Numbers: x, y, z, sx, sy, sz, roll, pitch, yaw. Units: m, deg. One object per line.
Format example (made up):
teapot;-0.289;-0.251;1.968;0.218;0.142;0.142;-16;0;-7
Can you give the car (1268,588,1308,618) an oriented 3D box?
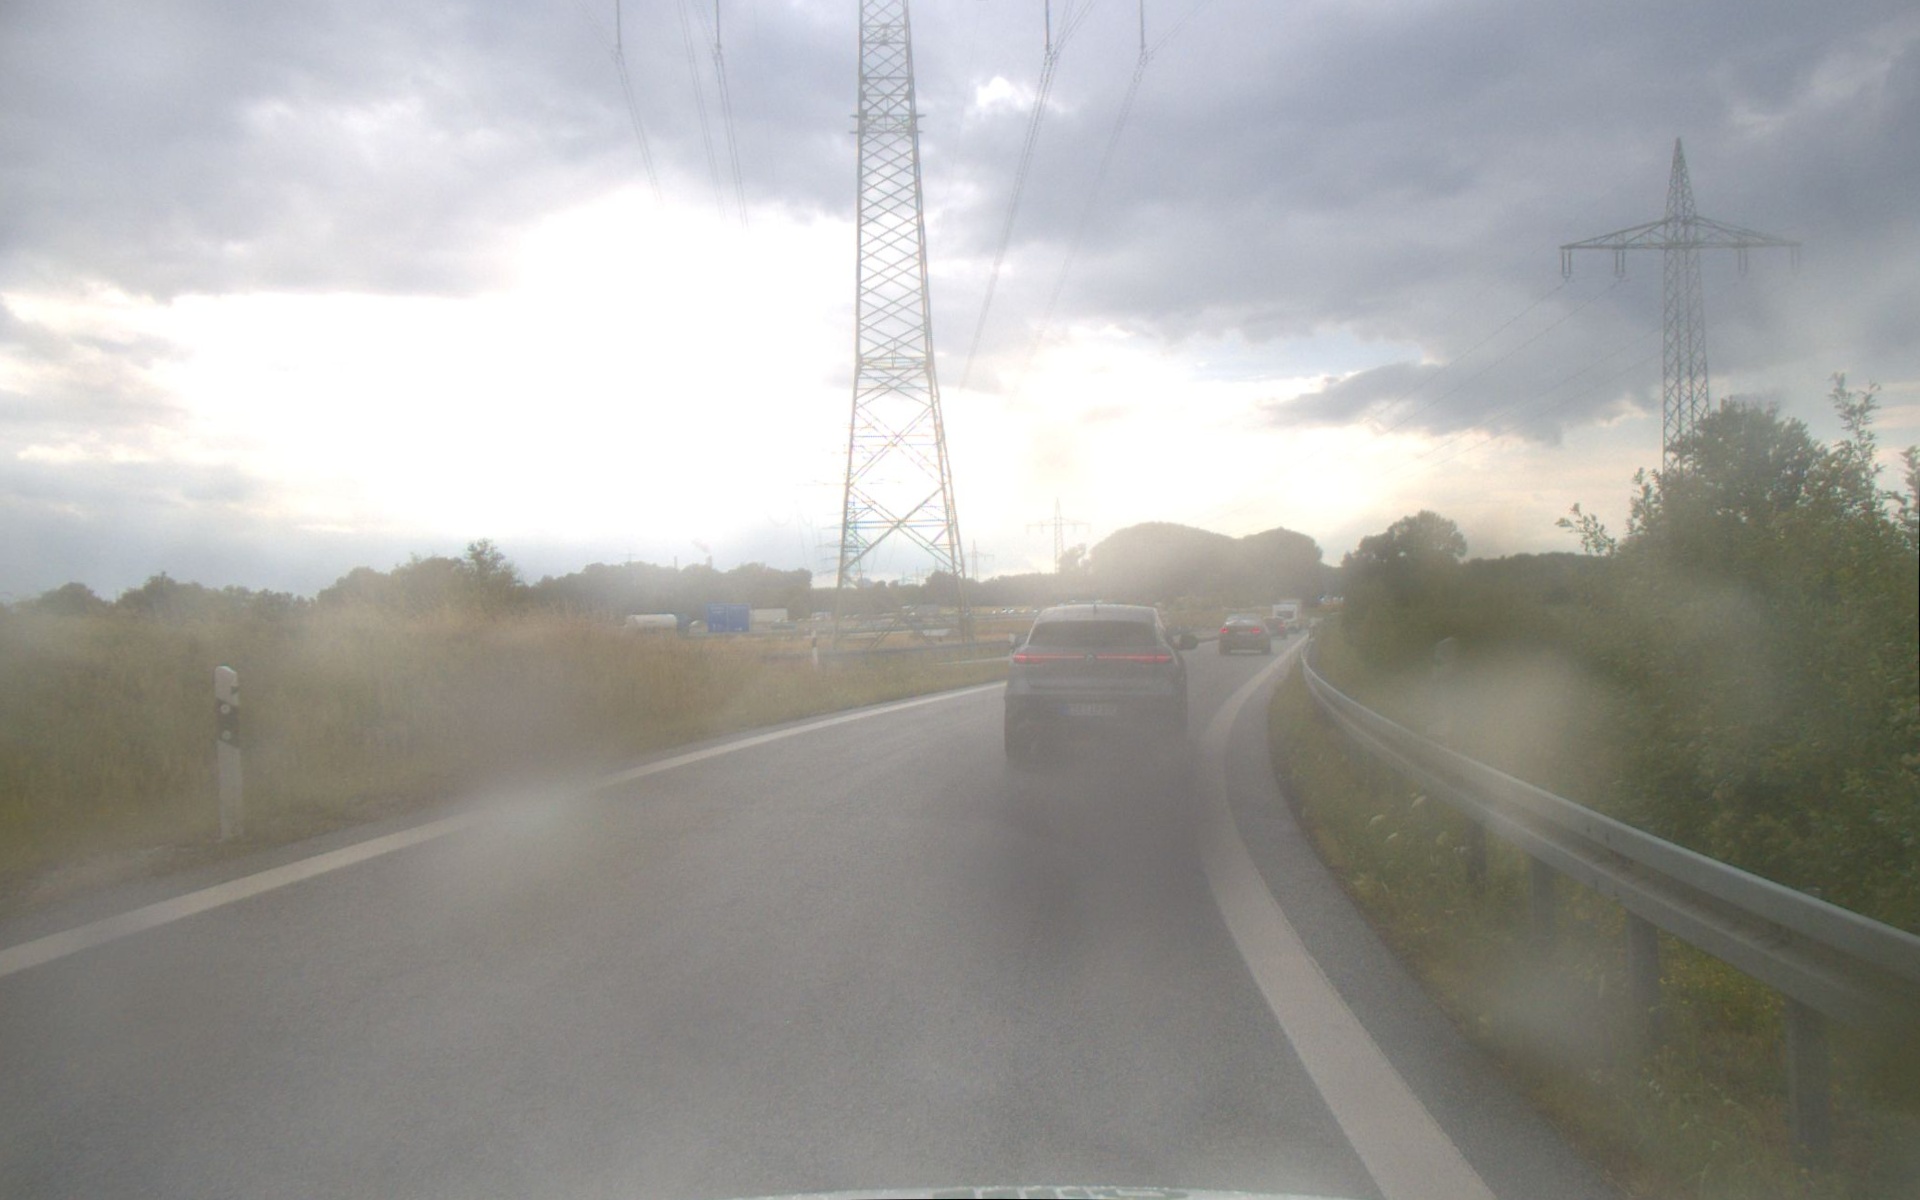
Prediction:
car;36.193;0.319;182.811;3.071;3.002;7.211;-2;1;2

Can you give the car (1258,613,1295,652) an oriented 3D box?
car;21.263;2.166;111.069;2.301;2.347;5.134;-2;1;12

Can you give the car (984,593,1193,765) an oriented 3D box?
car;1.433;0.736;17.718;1.951;1.594;4.152;1;0;6

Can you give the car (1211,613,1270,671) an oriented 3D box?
car;10.805;1.559;63.678;2.076;2.053;5.539;-2;-1;10

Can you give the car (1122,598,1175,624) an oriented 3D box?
car;28.179;1.687;247.718;3.346;3.674;8.956;-1;-1;-29
